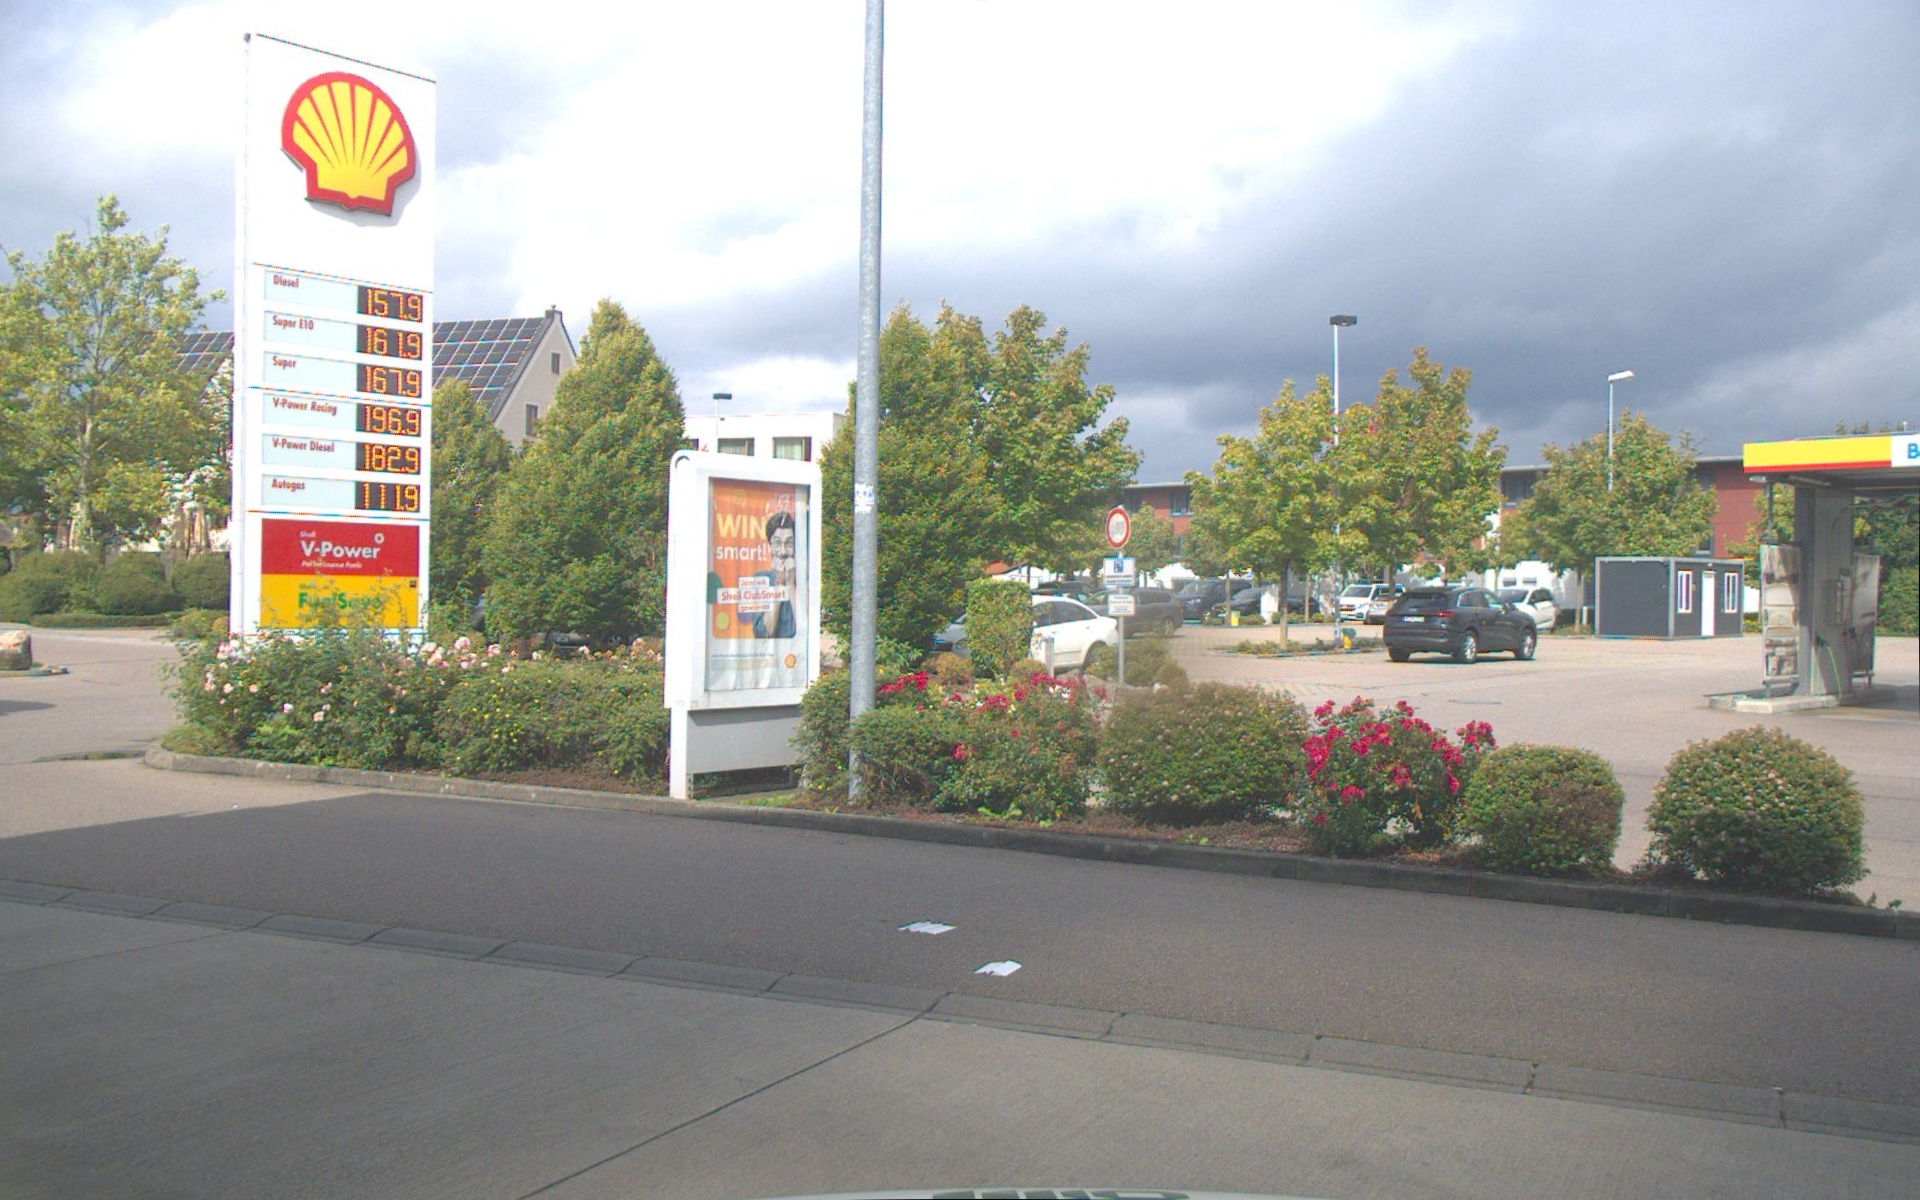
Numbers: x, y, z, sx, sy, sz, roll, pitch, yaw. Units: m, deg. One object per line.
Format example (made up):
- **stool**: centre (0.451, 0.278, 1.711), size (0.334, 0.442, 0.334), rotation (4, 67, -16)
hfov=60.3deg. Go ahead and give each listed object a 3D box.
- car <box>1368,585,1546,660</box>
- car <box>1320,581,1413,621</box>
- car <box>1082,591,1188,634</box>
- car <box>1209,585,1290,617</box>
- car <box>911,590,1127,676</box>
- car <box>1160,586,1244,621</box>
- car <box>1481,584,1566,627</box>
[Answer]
- **car**: centre (11.135, 0.497, 36.884), size (4.467, 1.575, 1.856), rotation (1, 0, -44)
- **car**: centre (19.920, 0.051, 80.936), size (4.839, 1.865, 2.150), rotation (1, 0, -44)
- **car**: centre (5.283, 0.379, 49.783), size (3.203, 1.249, 1.481), rotation (1, 0, -45)
- **car**: centre (11.417, 0.055, 65.201), size (3.393, 1.199, 1.462), rotation (1, 0, -45)
- **car**: centre (1.138, 0.587, 29.927), size (1.348, 1.428, 4.312), rotation (1, -1, 45)
- **car**: centre (9.816, 0.159, 66.923), size (3.364, 1.343, 1.719), rotation (1, 0, -45)
- **car**: centre (18.012, 0.183, 52.797), size (3.080, 1.330, 1.346), rotation (1, -1, -45)
